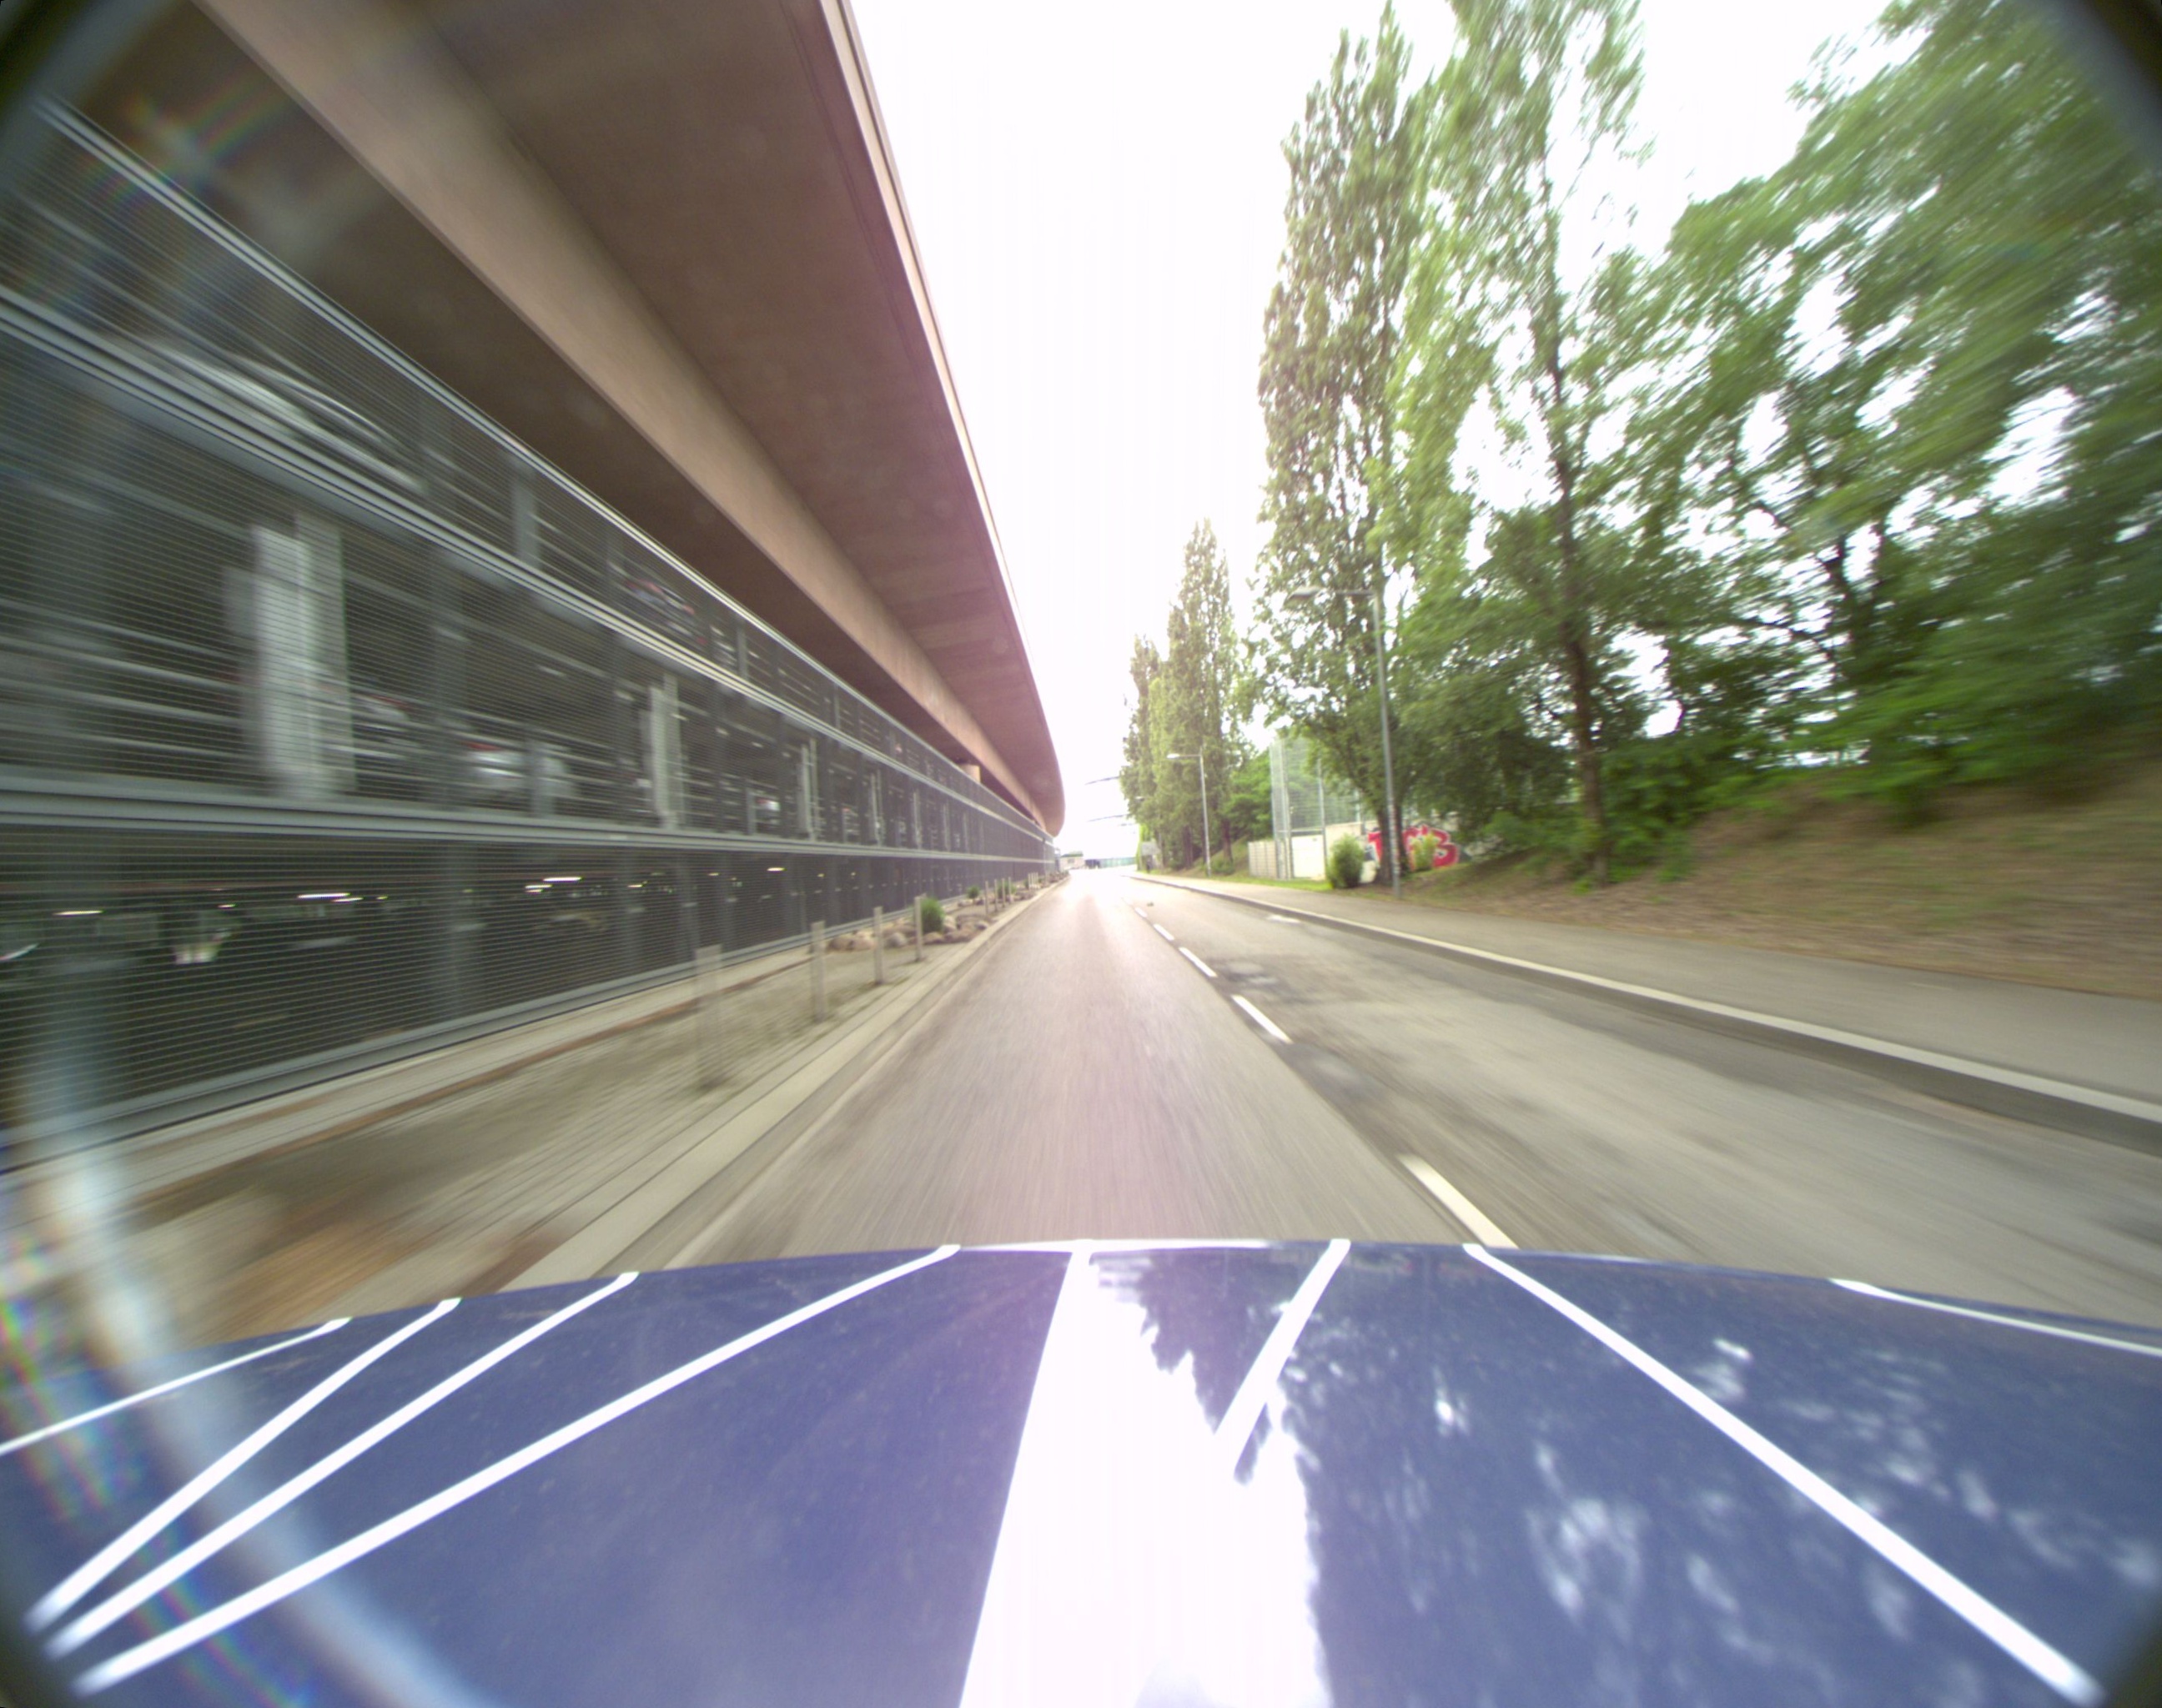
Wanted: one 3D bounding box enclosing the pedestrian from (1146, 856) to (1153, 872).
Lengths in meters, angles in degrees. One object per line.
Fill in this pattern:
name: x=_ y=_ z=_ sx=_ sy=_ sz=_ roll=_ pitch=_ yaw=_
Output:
pedestrian: x=8.299 y=1.169 z=92.199 sx=0.662 sy=1.882 sz=0.737 roll=-2 pitch=0 yaw=0
